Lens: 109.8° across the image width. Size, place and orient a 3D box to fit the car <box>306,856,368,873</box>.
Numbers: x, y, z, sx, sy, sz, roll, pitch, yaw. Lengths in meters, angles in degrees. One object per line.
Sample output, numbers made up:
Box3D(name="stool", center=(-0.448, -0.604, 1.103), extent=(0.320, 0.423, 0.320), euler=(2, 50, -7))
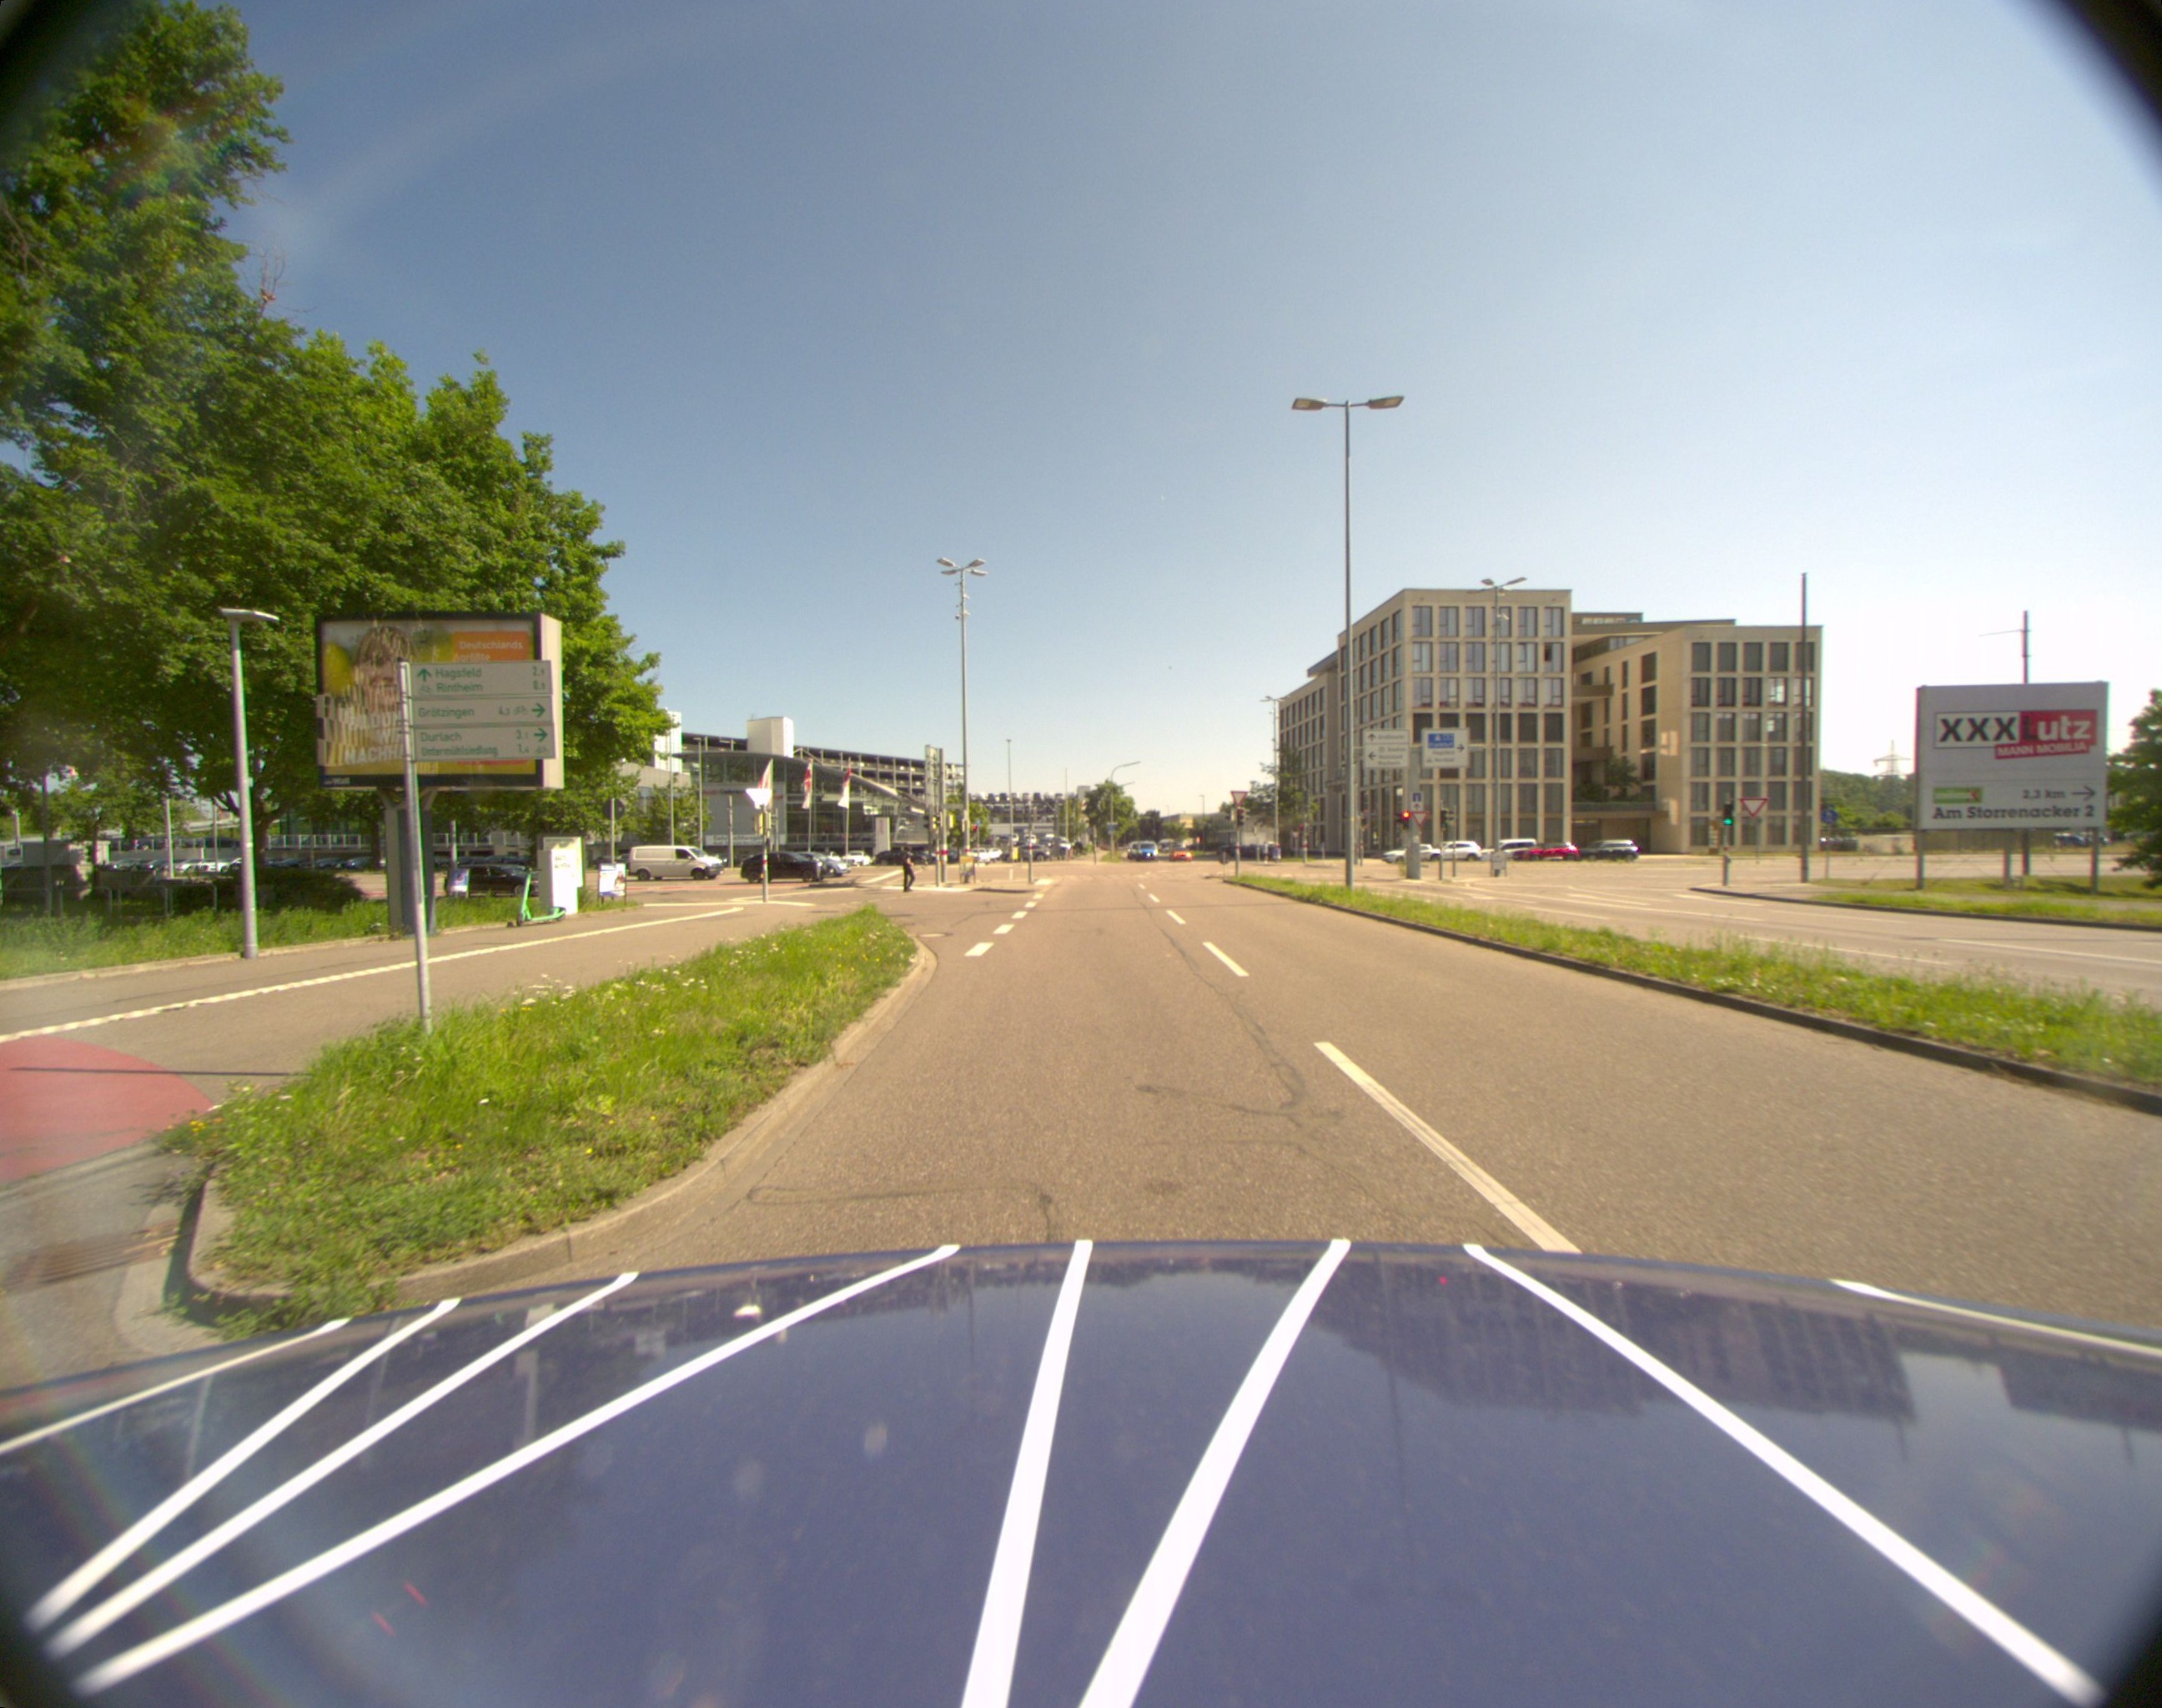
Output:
Box3D(name="car", center=(-61.923, 0.864, 63.310), extent=(1.594, 1.242, 3.418), euler=(-1, 1, 5))

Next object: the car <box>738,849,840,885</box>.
Box3D(name="car", center=(-15.056, 0.658, 39.357), extent=(4.501, 1.618, 1.714), euler=(-2, 2, -3))

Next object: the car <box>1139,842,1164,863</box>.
Box3D(name="car", center=(6.707, -0.157, 71.623), extent=(2.184, 1.898, 4.732), euler=(-1, 1, 7))

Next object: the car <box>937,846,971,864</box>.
Box3D(name="car", center=(-10.913, 0.088, 65.756), extent=(1.998, 1.452, 4.001), euler=(-1, 1, 4))

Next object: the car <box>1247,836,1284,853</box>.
Box3D(name="car", center=(21.645, -1.110, 89.094), extent=(3.991, 2.002, 2.003), euler=(0, 1, 20))

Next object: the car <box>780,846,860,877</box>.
Box3D(name="car", center=(-14.857, 0.418, 43.360), extent=(3.827, 1.604, 1.760), euler=(-1, 2, 4))

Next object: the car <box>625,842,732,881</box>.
Box3D(name="car", center=(-22.597, 0.398, 42.789), extent=(4.998, 1.996, 1.740), euler=(-1, 2, -3))

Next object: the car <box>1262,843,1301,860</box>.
Box3D(name="car", center=(21.617, -0.269, 82.207), extent=(3.992, 1.729, 2.001), euler=(1, 2, 13))

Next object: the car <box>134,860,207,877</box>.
Box3D(name="car", center=(-72.633, 1.138, 60.672), extent=(1.594, 1.242, 3.417), euler=(-1, 1, 3))

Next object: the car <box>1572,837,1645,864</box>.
Box3D(name="car", center=(39.673, -0.274, 57.225), extent=(4.240, 1.878, 1.834), euler=(-1, 2, -1))

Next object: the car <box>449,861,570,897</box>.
Box3D(name="car", center=(-25.661, 1.107, 34.174), extent=(4.233, 1.456, 1.772), euler=(0, 2, 7))

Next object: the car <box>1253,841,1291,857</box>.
Box3D(name="car", center=(21.441, -0.547, 85.400), extent=(3.991, 1.816, 2.003), euler=(0, 1, 20))

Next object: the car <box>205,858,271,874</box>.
Box3D(name="car", center=(-69.909, 0.997, 63.093), extent=(1.594, 1.242, 3.417), euler=(-1, 1, 3))

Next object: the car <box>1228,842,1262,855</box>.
Box3D(name="car", center=(20.793, -0.723, 96.288), extent=(3.991, 1.605, 2.003), euler=(0, 1, 20))

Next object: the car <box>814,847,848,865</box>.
Box3D(name="car", center=(-21.687, 0.158, 66.033), extent=(1.786, 1.462, 3.886), euler=(-1, 1, -4))

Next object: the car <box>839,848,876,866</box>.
Box3D(name="car", center=(-19.242, 0.248, 65.475), extent=(2.004, 1.414, 4.113), euler=(-1, 1, -1))

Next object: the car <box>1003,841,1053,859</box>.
Box3D(name="car", center=(-4.932, -0.358, 70.834), extent=(4.479, 1.578, 1.979), euler=(-1, 1, 0))

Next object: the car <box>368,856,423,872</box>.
Box3D(name="car", center=(-57.473, 0.822, 63.780), extent=(1.640, 1.317, 3.171), euler=(-1, 1, 3))

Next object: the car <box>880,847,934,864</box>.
Box3D(name="car", center=(-15.167, 0.121, 66.381), extent=(4.349, 1.342, 1.821), euler=(-1, 1, -3))

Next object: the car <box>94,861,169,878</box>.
Box3D(name="car", center=(-75.773, 1.200, 60.726), extent=(1.594, 1.242, 3.417), euler=(-1, 1, 3))

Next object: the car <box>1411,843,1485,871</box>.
Box3D(name="car", center=(26.077, 0.217, 54.098), extent=(4.310, 1.827, 2.025), euler=(-1, 2, -5))

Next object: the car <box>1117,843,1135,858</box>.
Box3D(name="car", center=(5.115, -0.418, 86.509), extent=(1.913, 1.485, 3.865), euler=(-1, 2, 6))

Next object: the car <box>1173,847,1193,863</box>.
Box3D(name="car", center=(9.590, 0.085, 71.399), extent=(1.737, 1.356, 3.867), euler=(-1, 1, 7))

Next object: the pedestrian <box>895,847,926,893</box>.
Box3D(name="pedestrian", center=(-6.640, 0.605, 29.638), extent=(0.705, 1.770, 0.961), euler=(0, 1, 24))

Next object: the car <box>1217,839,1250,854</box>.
Box3D(name="car", center=(19.851, -0.970, 99.104), extent=(3.991, 2.002, 2.003), euler=(0, 1, 20))

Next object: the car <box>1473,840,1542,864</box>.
Box3D(name="car", center=(32.178, -0.188, 57.412), extent=(4.229, 1.701, 1.903), euler=(-1, 1, -4))

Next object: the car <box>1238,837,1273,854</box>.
Box3D(name="car", center=(21.203, -1.007, 92.219), extent=(3.991, 2.002, 2.003), euler=(0, 1, 19))

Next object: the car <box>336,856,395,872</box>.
Box3D(name="car", center=(-59.692, 0.827, 63.452), extent=(1.594, 1.242, 3.417), euler=(-1, 1, 3))

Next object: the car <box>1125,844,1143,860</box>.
Box3D(name="car", center=(5.443, -0.223, 78.502), extent=(1.666, 1.548, 3.854), euler=(-1, 2, 1))

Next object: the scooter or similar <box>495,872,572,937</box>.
Box3D(name="scooter or similar", center=(-10.797, 0.968, 15.014), extent=(0.402, 1.160, 1.185), euler=(0, 2, 16))

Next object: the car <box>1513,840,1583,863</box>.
Box3D(name="car", center=(33.222, -0.195, 54.071), extent=(4.118, 1.519, 1.530), euler=(-1, 1, -3))

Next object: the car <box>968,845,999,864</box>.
Box3D(name="car", center=(-8.463, 0.020, 65.974), extent=(1.887, 1.452, 4.000), euler=(-1, 2, 4))

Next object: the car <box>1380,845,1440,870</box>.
Box3D(name="car", center=(24.737, 0.240, 57.241), extent=(3.765, 1.703, 1.832), euler=(-1, 2, -7))
